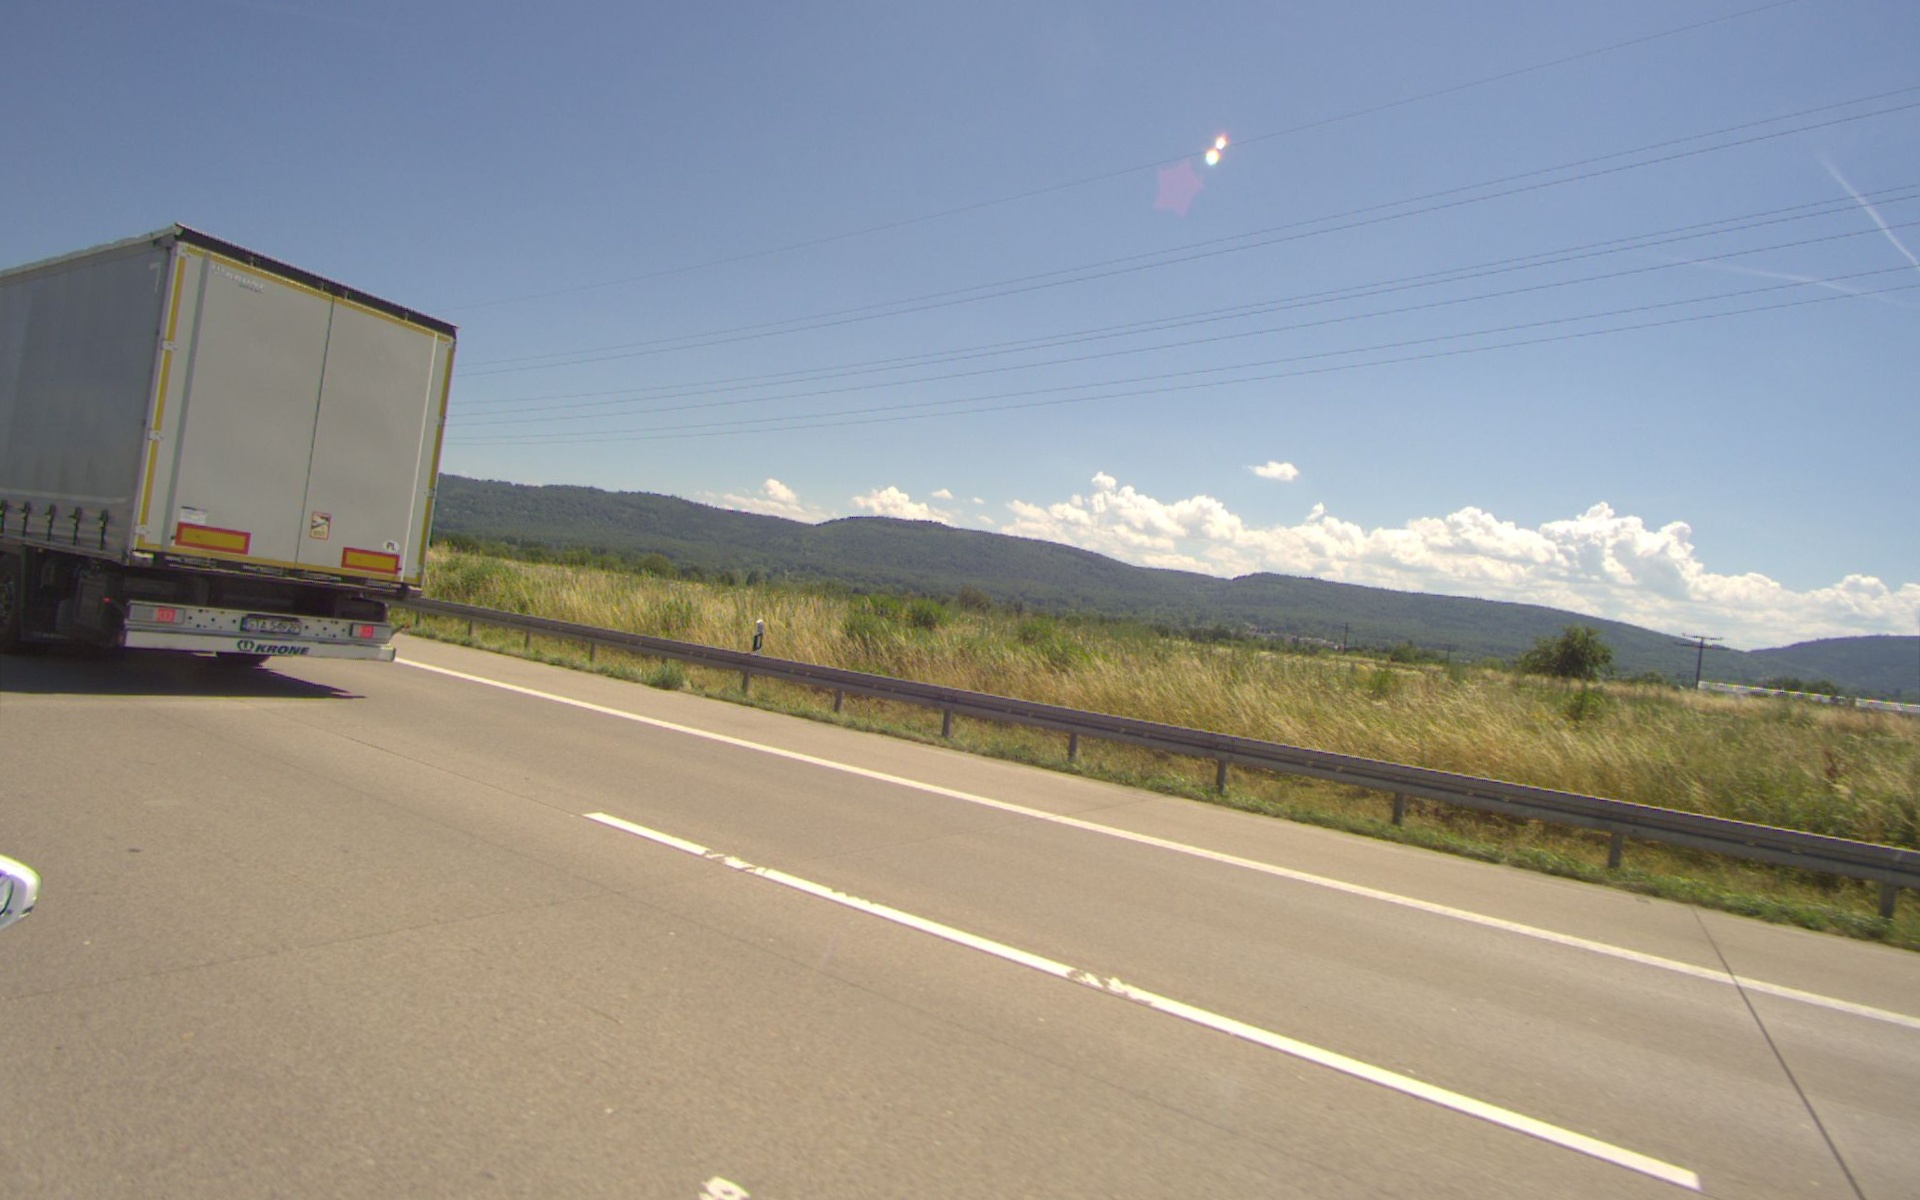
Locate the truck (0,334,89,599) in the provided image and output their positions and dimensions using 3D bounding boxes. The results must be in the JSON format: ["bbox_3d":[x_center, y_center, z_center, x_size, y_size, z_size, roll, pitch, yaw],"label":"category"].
[{"bbox_3d":[-17.936,-2.474,17.021,5.387,4.109,2.990,7,-2,32],"label":"truck"}]

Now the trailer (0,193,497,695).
[{"bbox_3d":[-11.952,-1.843,13.270,13.971,4.107,3.024,7,-2,32],"label":"trailer"}]
